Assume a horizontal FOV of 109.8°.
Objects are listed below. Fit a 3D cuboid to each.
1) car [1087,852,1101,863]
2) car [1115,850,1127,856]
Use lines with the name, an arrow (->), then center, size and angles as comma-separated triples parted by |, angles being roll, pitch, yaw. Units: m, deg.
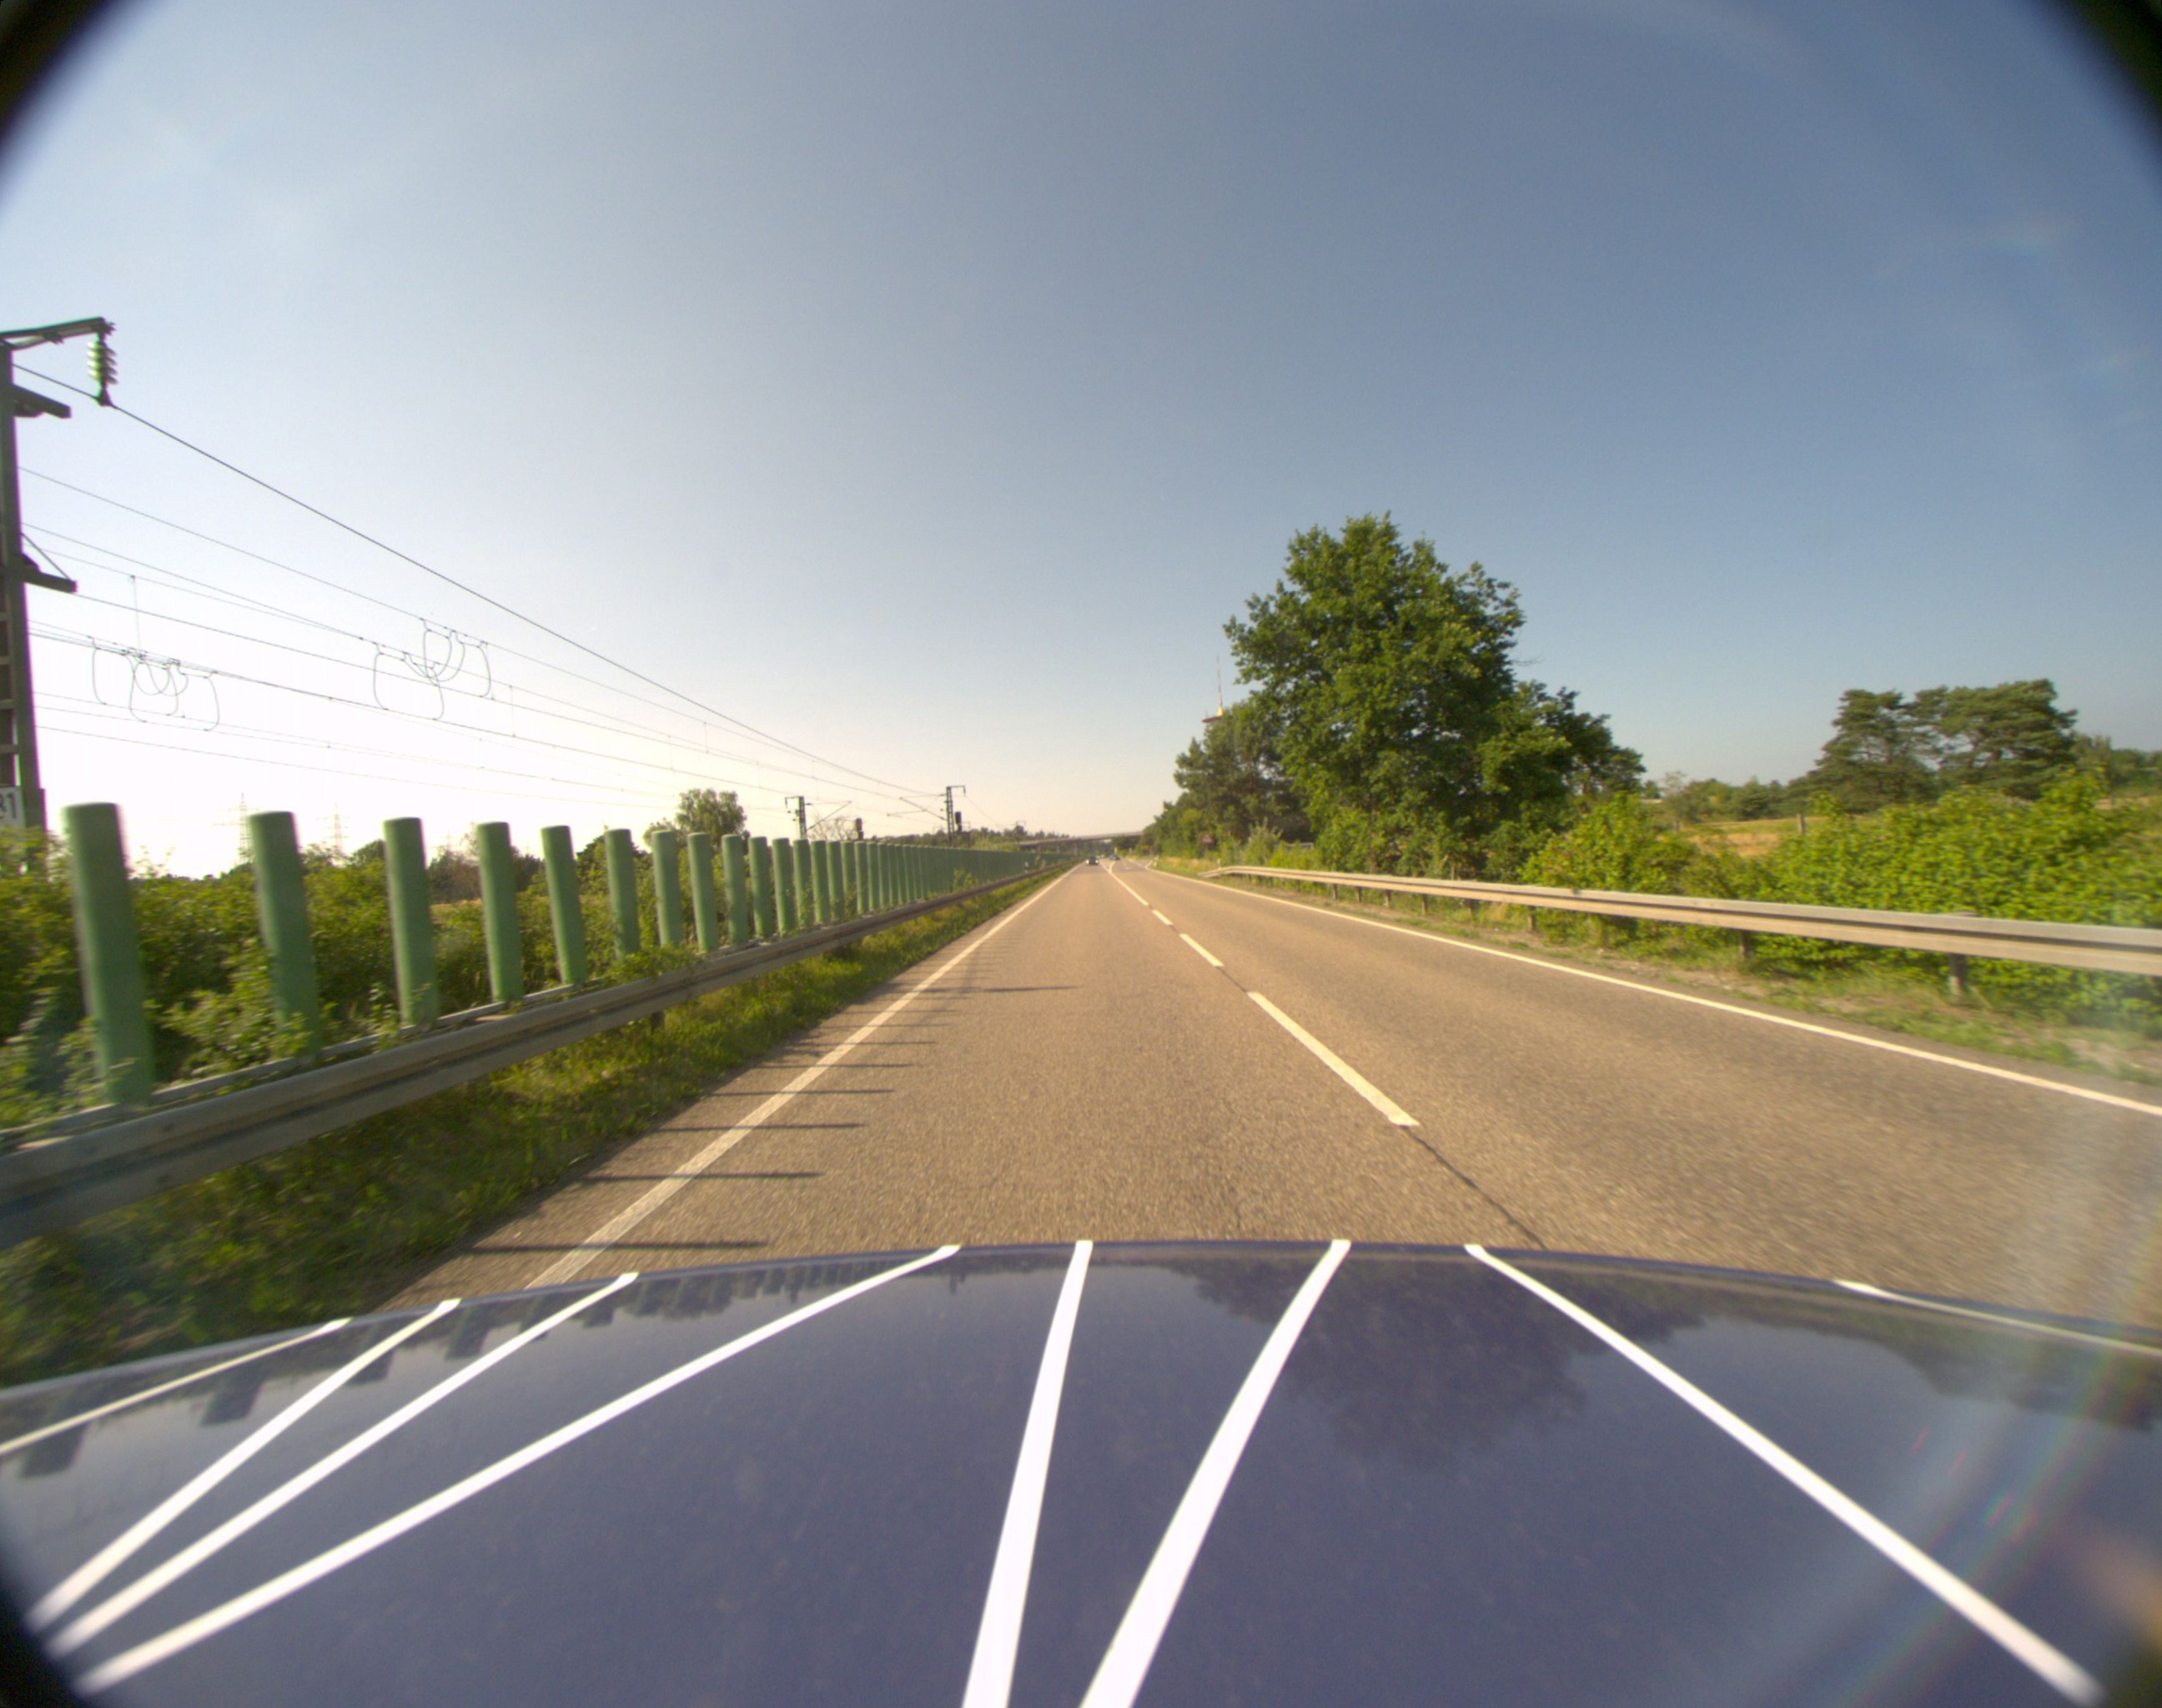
car -> 1.979, 0.538, 113.608 | 1.868, 1.533, 4.076 | -2, 0, 3
car -> 10.499, -0.247, 199.849 | 2.001, 1.533, 4.327 | -2, 0, -13
